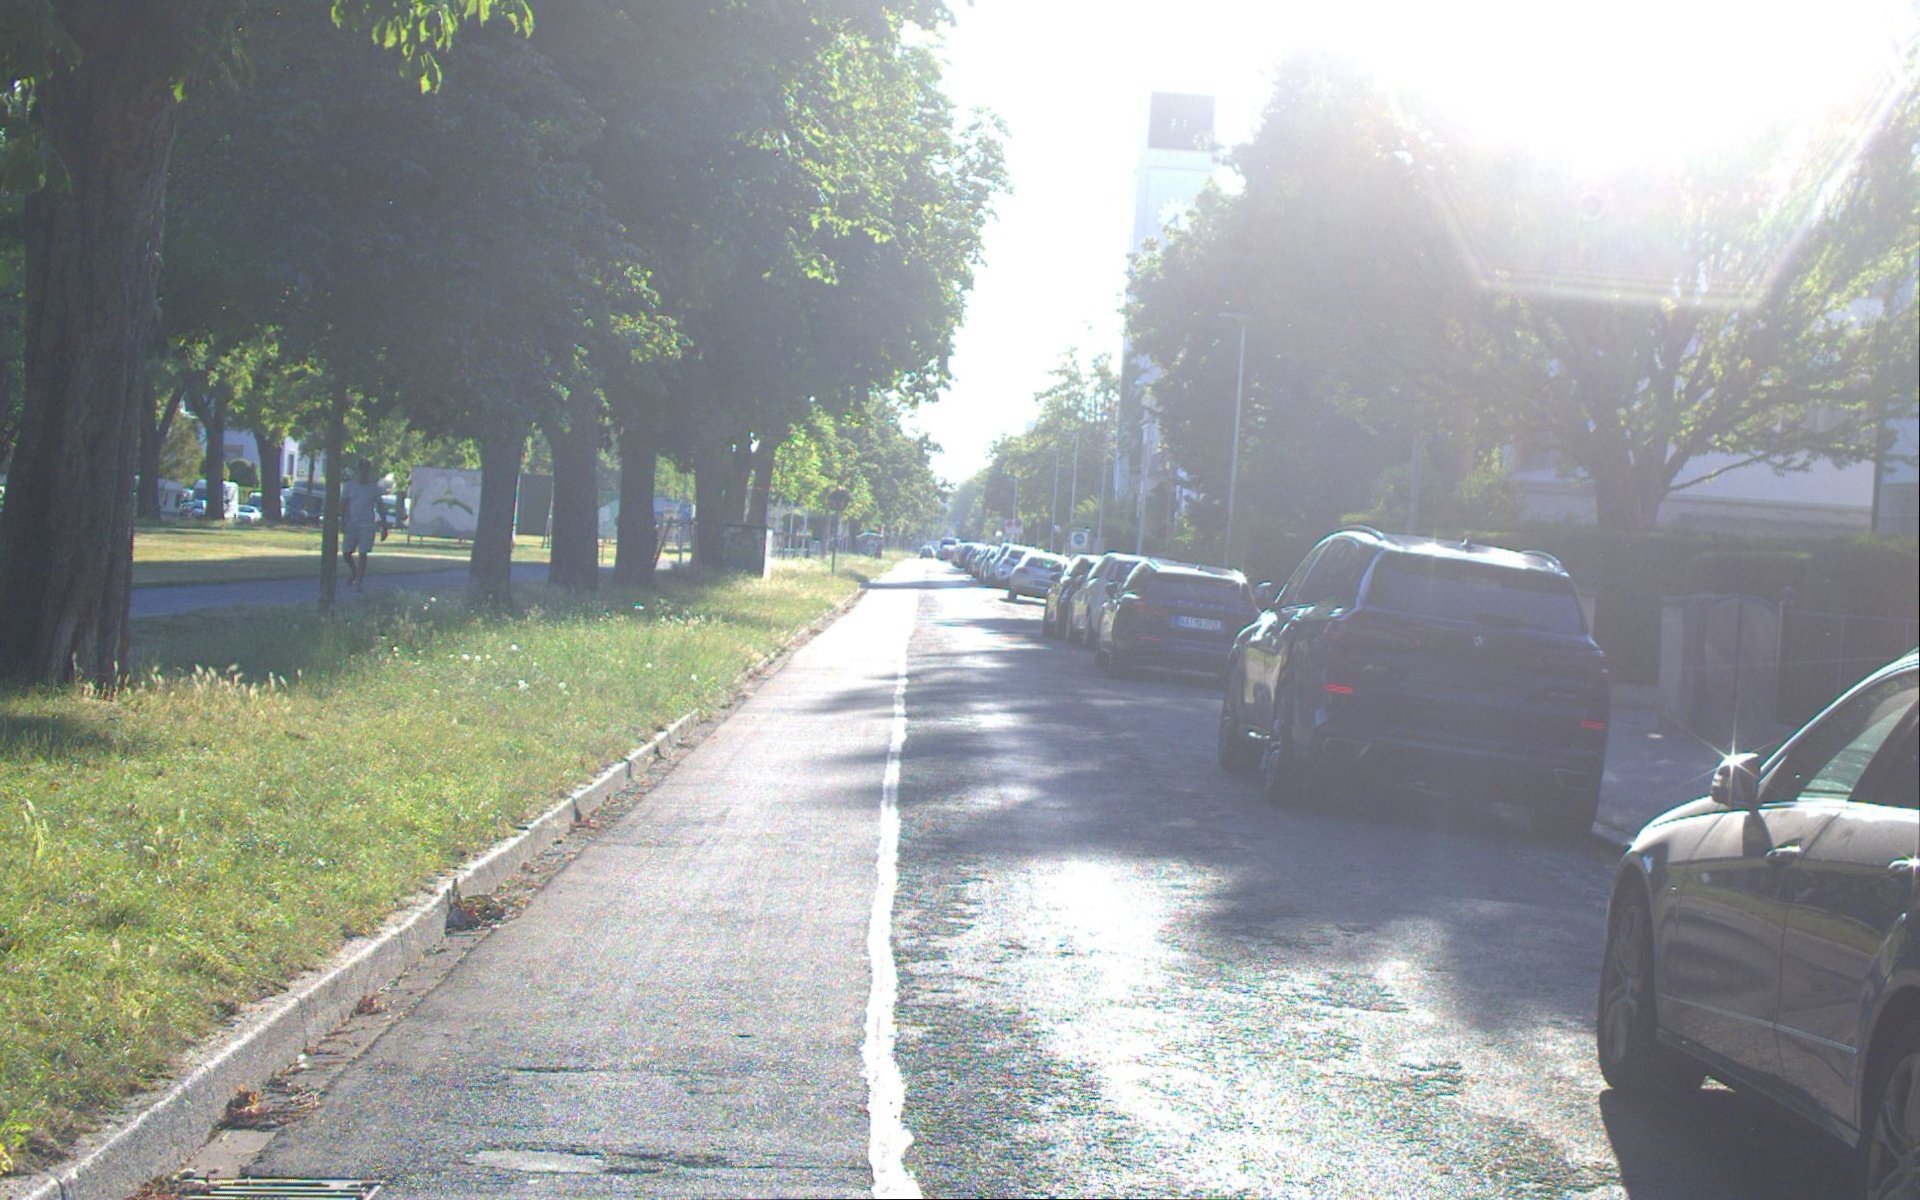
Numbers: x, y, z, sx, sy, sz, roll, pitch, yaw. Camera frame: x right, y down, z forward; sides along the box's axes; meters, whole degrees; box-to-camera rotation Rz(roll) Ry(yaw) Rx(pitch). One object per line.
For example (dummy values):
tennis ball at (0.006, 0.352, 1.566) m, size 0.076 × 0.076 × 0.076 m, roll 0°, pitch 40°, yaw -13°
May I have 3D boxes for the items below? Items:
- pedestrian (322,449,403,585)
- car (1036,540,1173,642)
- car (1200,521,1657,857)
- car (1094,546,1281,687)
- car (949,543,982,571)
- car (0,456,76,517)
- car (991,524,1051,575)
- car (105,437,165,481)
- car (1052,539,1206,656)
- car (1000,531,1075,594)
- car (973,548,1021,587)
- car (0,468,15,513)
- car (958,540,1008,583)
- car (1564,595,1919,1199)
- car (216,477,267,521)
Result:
pedestrian at (-7.971, -1.102, 45.892) m, size 0.724 × 1.752 × 0.993 m, roll 4°, pitch 1°, yaw 6°
car at (2.377, -0.178, 57.648) m, size 1.749 × 1.472 × 4.289 m, roll 6°, pitch 1°, yaw -3°
car at (2.920, 0.477, 22.616) m, size 1.993 × 1.731 × 4.864 m, roll 7°, pitch 1°, yaw -2°
car at (2.724, 0.167, 42.140) m, size 1.793 × 1.487 × 4.675 m, roll 5°, pitch 0°, yaw -1°
car at (0.343, -2.742, 220.049) m, size 1.980 × 1.677 × 4.000 m, roll 4°, pitch 1°, yaw 1°
car at (-35.390, -4.337, 131.886) m, size 1.685 × 2.168 × 4.314 m, roll 4°, pitch 1°, yaw 0°
car at (2.066, -1.740, 118.184) m, size 1.758 × 1.599 × 4.359 m, roll 4°, pitch 1°, yaw -2°
car at (-42.055, -7.181, 175.333) m, size 1.993 × 2.007 × 4.485 m, roll 1°, pitch -1°, yaw -1°
car at (2.546, -0.072, 52.634) m, size 1.691 × 1.478 × 3.930 m, roll 8°, pitch 1°, yaw -4°
car at (2.120, -1.040, 94.897) m, size 1.757 × 1.415 × 4.072 m, roll 10°, pitch 1°, yaw 0°
car at (1.577, -1.422, 148.648) m, size 1.761 × 1.516 × 4.000 m, roll 5°, pitch 1°, yaw -2°
car at (-34.918, -3.941, 121.585) m, size 1.685 × 1.554 × 4.314 m, roll 4°, pitch 1°, yaw 0°
car at (0.896, -1.559, 138.675) m, size 1.758 × 1.599 × 4.359 m, roll 4°, pitch 1°, yaw -2°
car at (2.889, 0.855, 8.446) m, size 1.780 × 1.458 × 4.594 m, roll 7°, pitch 1°, yaw -1°
car at (-41.693, -5.836, 199.642) m, size 1.993 × 2.401 × 4.363 m, roll 2°, pitch 0°, yaw 0°
